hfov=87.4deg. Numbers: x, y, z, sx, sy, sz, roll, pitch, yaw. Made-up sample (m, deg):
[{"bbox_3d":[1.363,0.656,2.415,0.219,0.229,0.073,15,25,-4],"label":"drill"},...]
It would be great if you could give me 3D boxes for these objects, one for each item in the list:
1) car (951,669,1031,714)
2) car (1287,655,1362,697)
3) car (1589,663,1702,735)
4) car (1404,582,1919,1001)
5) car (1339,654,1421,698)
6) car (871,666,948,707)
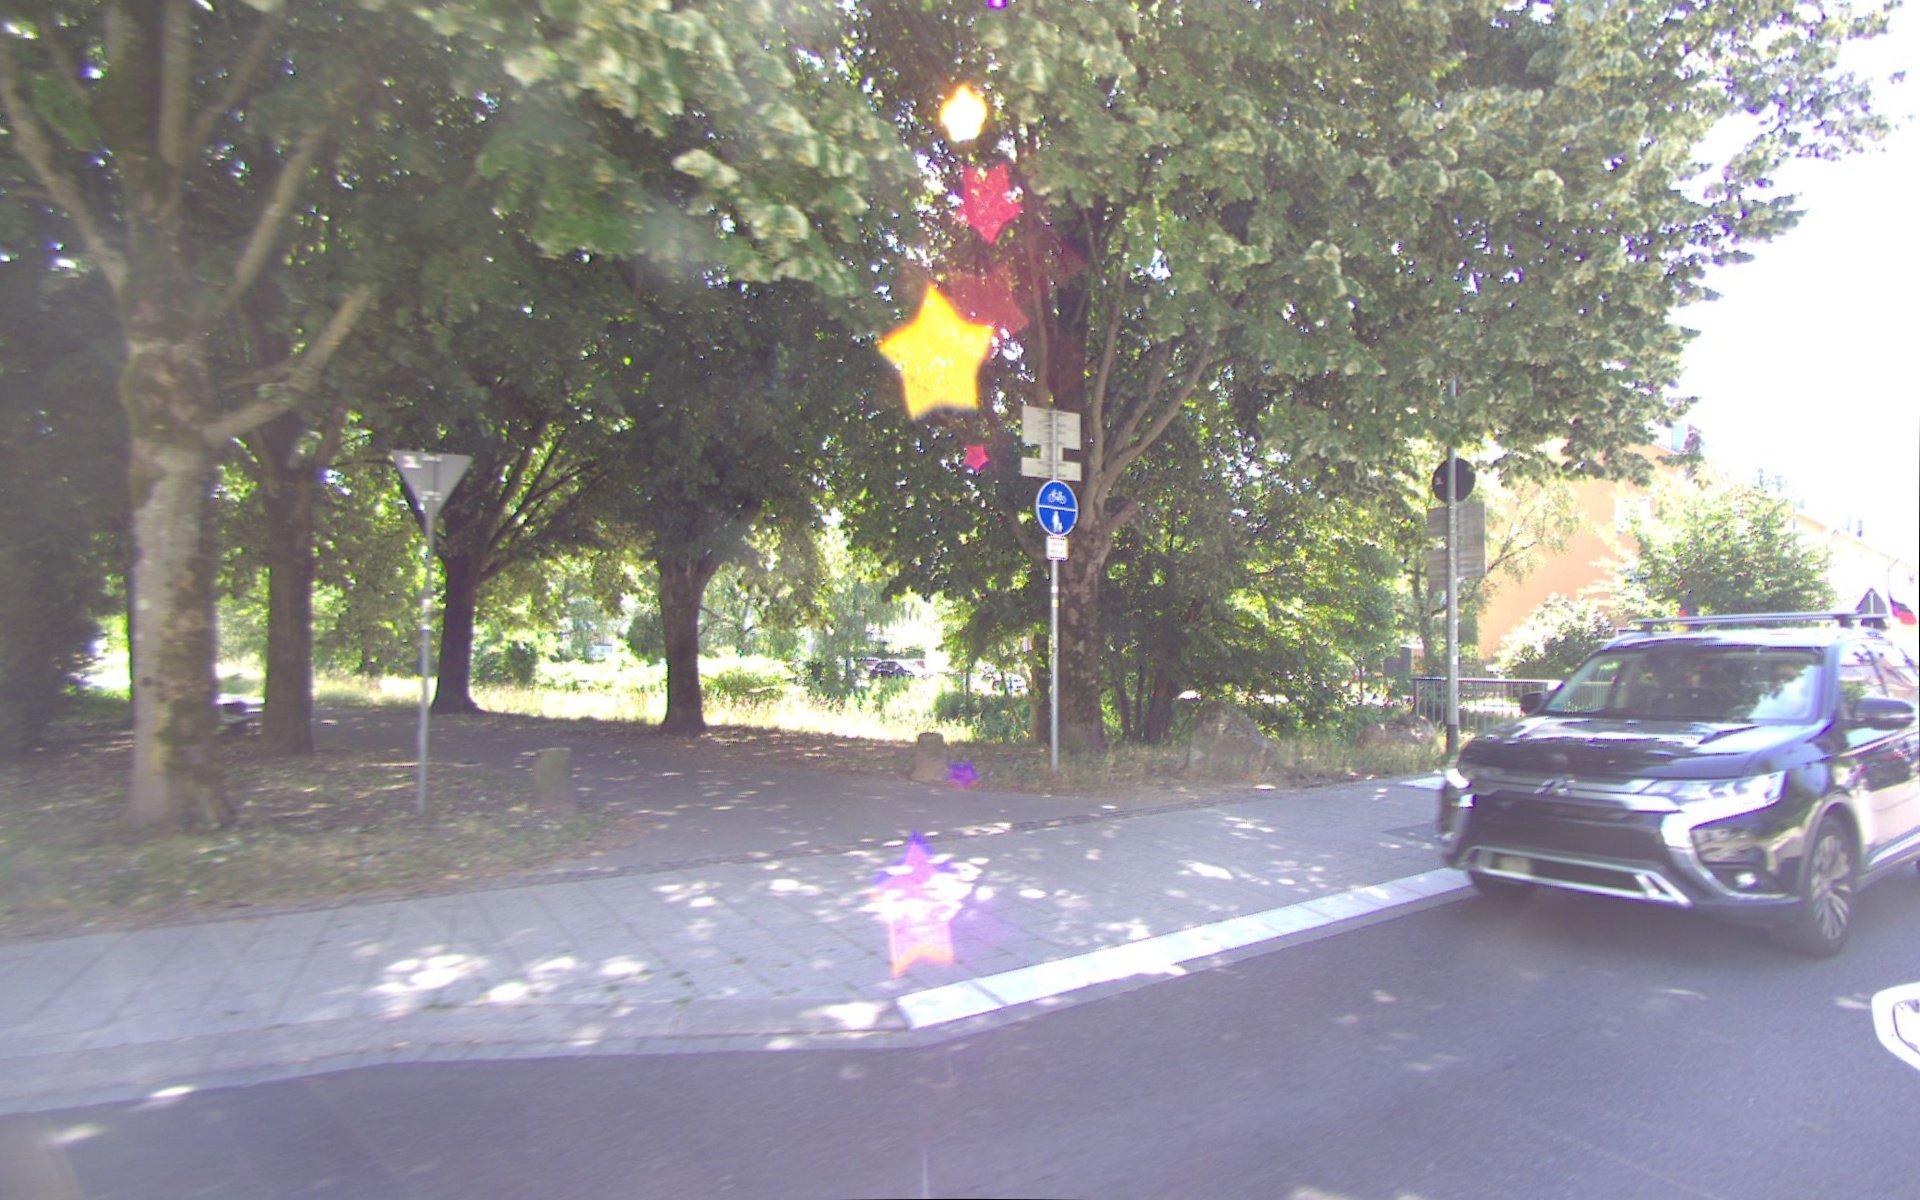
[{"bbox_3d":[1.570,4.658,51.615,1.984,2.040,3.955,2,-2,-39],"label":"car"},{"bbox_3d":[18.737,3.887,51.541,3.970,2.040,1.976,4,-4,-41],"label":"car"},{"bbox_3d":[21.557,3.042,31.538,3.969,2.040,1.976,2,-3,-41],"label":"car"},{"bbox_3d":[4.812,0.951,6.317,4.295,1.795,1.730,3,-5,-36],"label":"car"},{"bbox_3d":[20.520,3.670,49.024,3.964,2.040,1.979,3,-3,-38],"label":"car"},{"bbox_3d":[-2.824,4.778,55.811,3.937,2.040,1.992,-1,-2,38],"label":"car"}]
